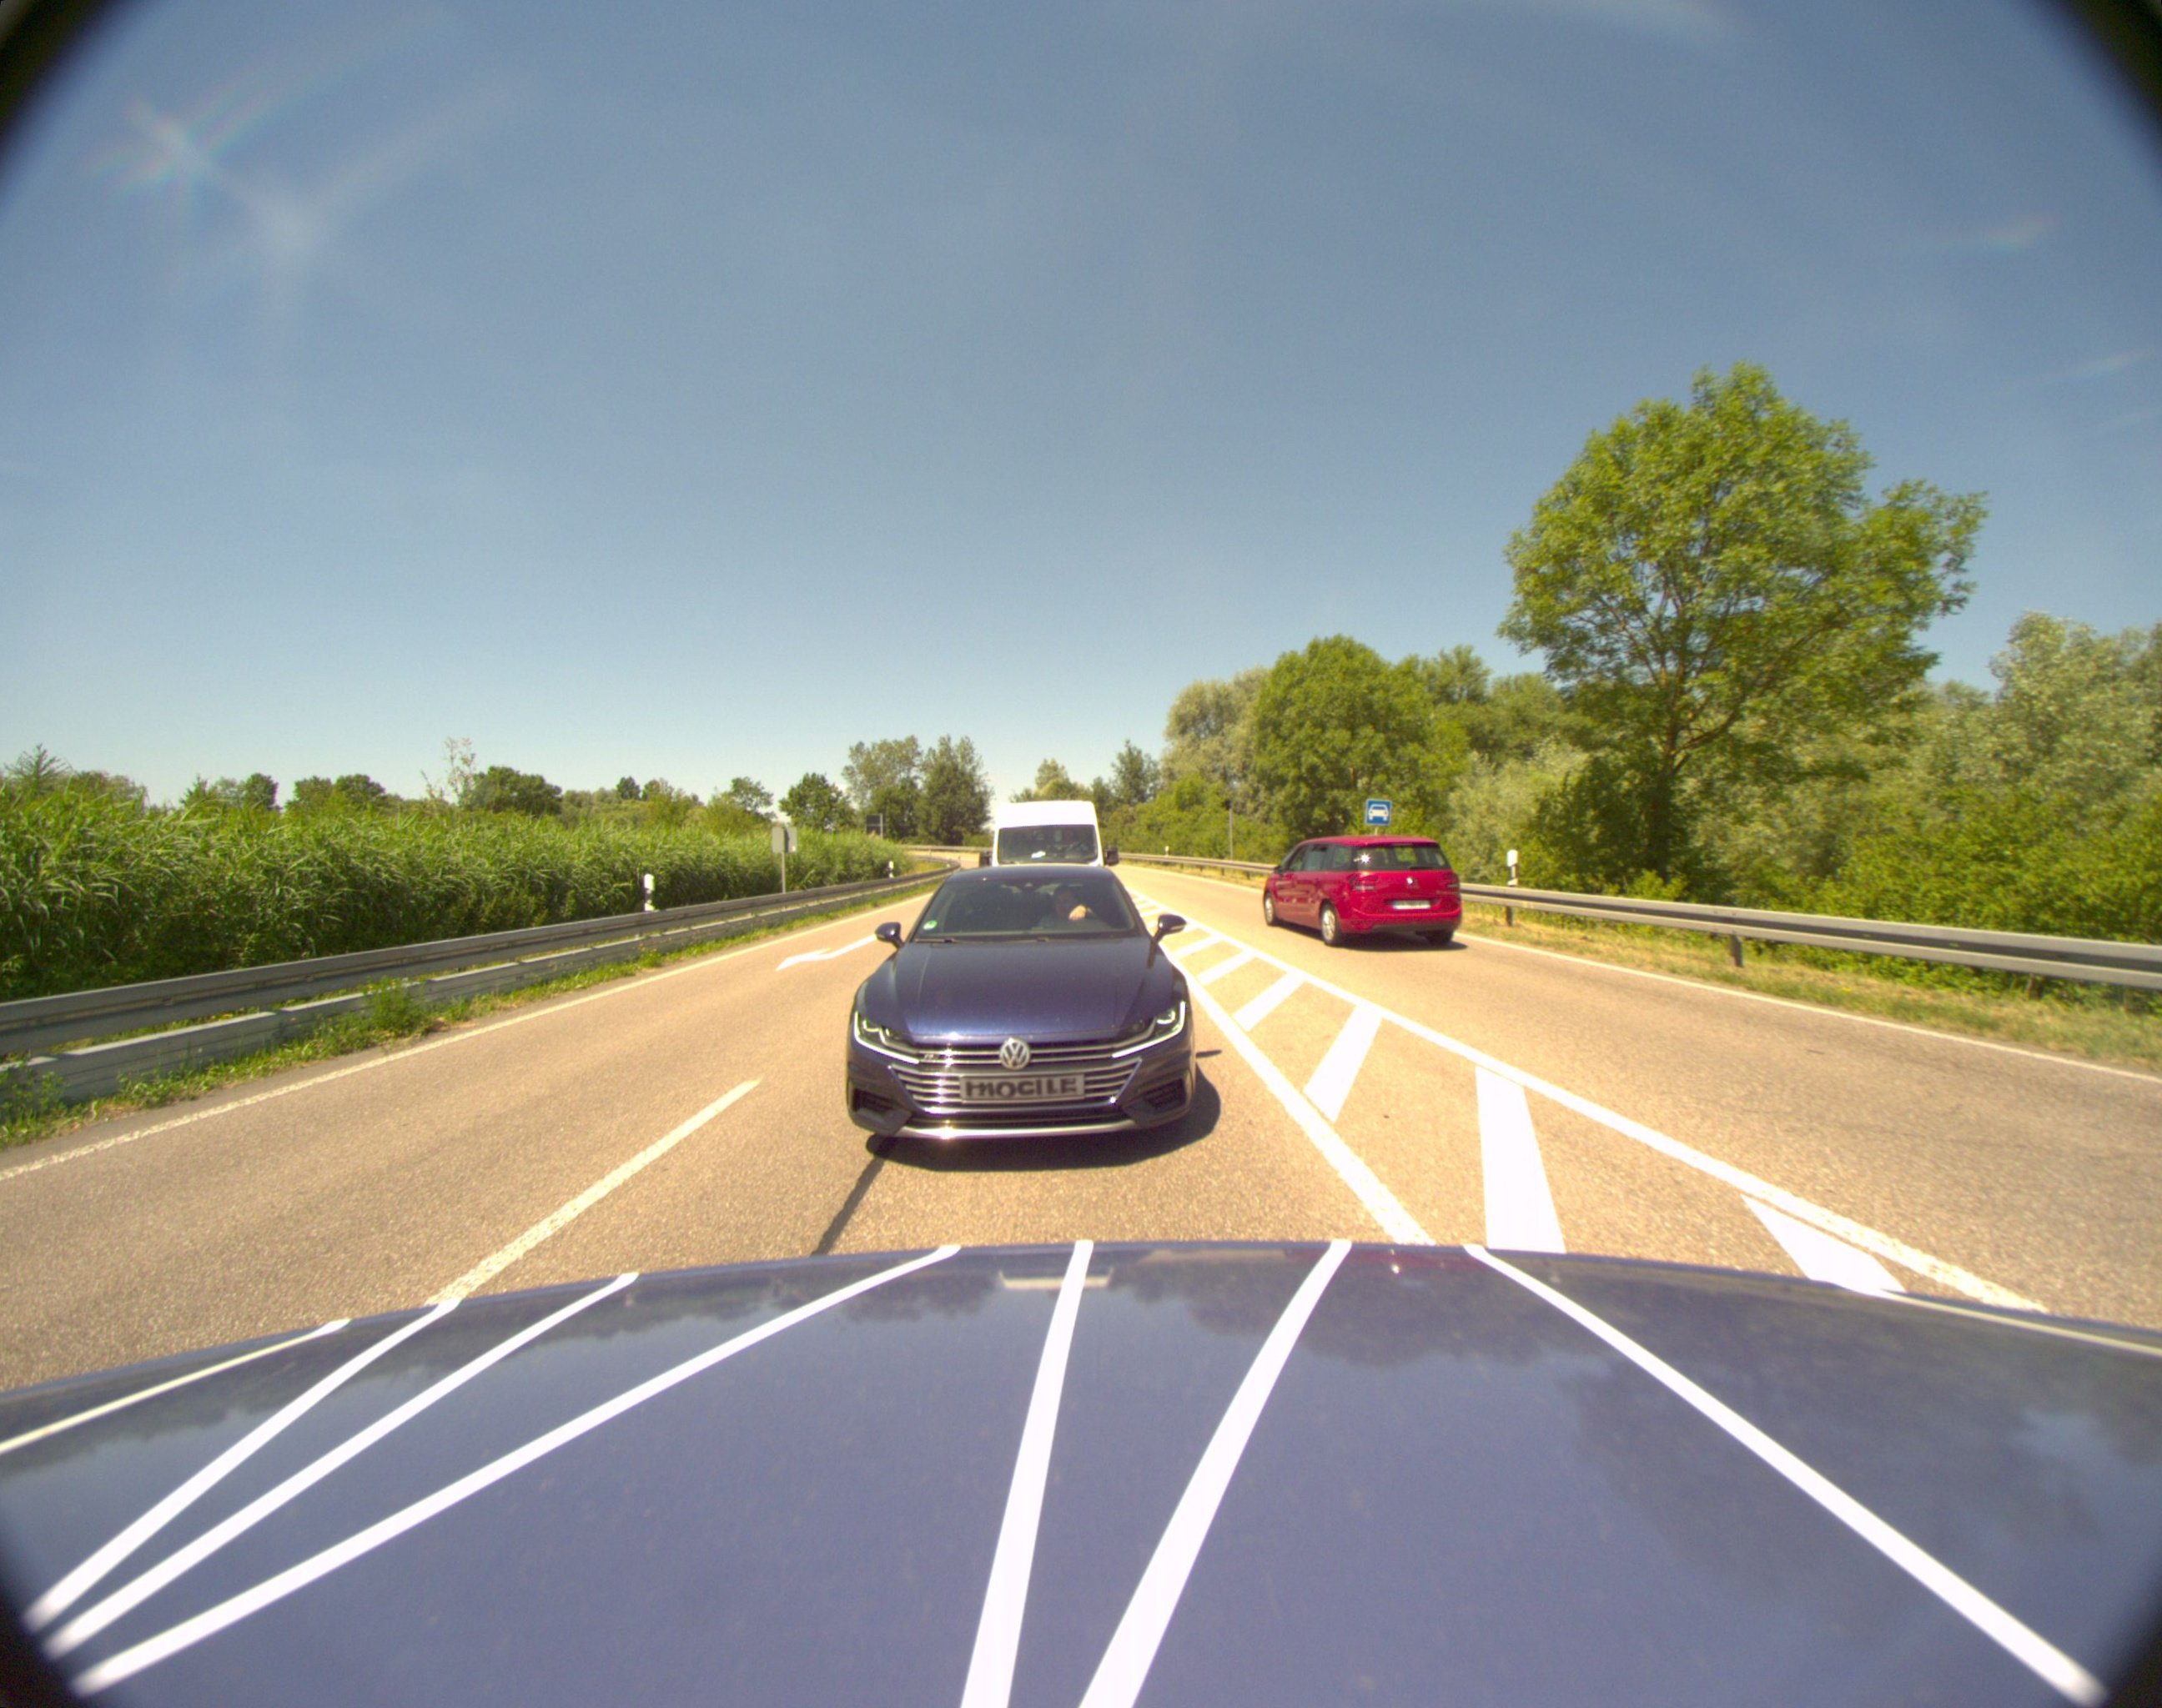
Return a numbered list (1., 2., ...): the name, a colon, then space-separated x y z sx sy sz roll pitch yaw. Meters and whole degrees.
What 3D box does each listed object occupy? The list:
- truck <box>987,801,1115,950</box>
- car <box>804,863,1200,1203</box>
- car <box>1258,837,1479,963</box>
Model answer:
1. truck: -0.666 0.313 15.241 2.011 2.365 5.909 -2 1 -4
2. car: -0.342 0.870 5.767 1.819 1.454 4.415 -2 1 1
3. car: 4.333 0.586 12.256 1.741 1.676 4.207 0 1 -4
